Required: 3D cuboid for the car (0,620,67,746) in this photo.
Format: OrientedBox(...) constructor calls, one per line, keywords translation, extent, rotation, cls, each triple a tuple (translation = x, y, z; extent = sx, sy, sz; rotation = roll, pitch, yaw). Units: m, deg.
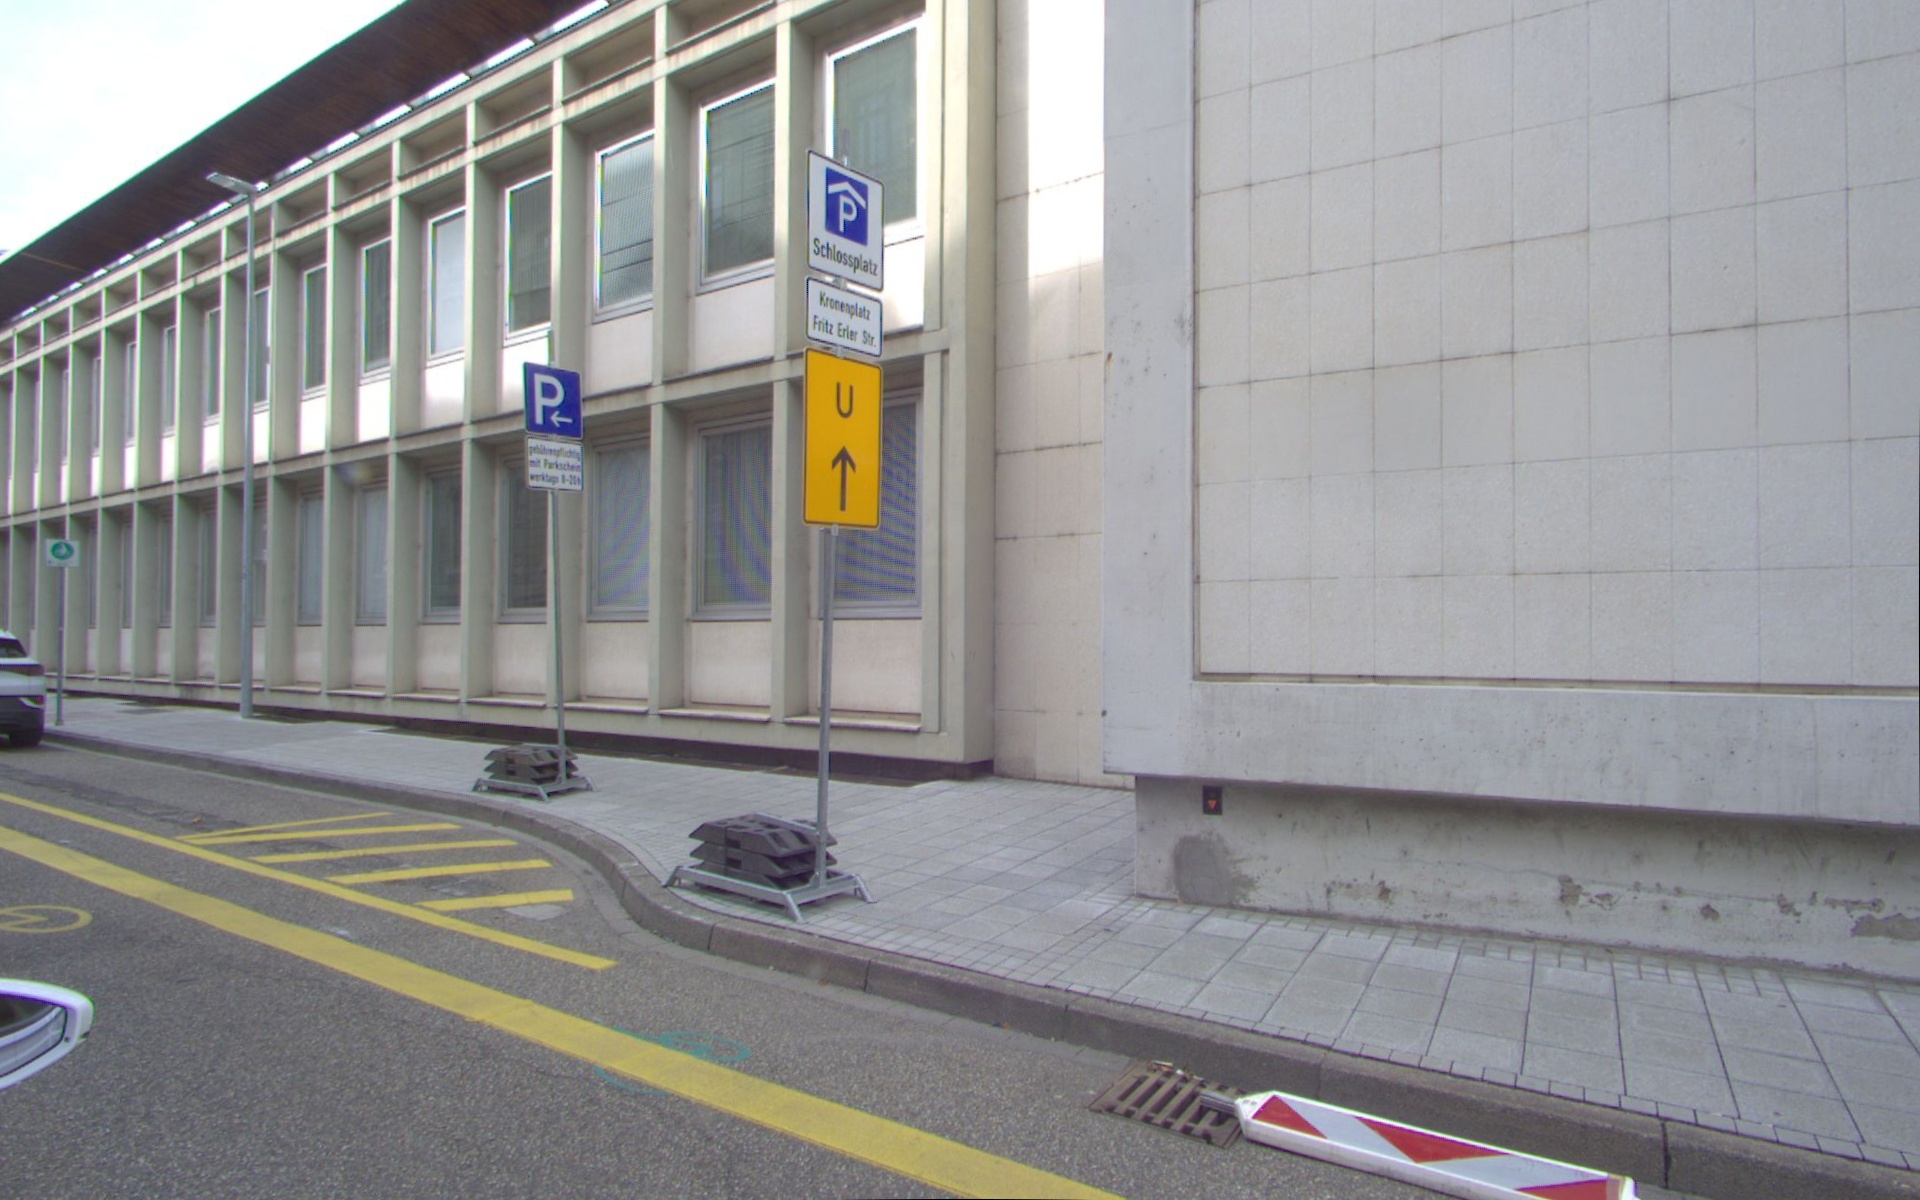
OrientedBox(translation=(-14.377, 1.093, 13.959), extent=(4.452, 1.624, 1.857), rotation=(-1, -5, 35), cls="car")
